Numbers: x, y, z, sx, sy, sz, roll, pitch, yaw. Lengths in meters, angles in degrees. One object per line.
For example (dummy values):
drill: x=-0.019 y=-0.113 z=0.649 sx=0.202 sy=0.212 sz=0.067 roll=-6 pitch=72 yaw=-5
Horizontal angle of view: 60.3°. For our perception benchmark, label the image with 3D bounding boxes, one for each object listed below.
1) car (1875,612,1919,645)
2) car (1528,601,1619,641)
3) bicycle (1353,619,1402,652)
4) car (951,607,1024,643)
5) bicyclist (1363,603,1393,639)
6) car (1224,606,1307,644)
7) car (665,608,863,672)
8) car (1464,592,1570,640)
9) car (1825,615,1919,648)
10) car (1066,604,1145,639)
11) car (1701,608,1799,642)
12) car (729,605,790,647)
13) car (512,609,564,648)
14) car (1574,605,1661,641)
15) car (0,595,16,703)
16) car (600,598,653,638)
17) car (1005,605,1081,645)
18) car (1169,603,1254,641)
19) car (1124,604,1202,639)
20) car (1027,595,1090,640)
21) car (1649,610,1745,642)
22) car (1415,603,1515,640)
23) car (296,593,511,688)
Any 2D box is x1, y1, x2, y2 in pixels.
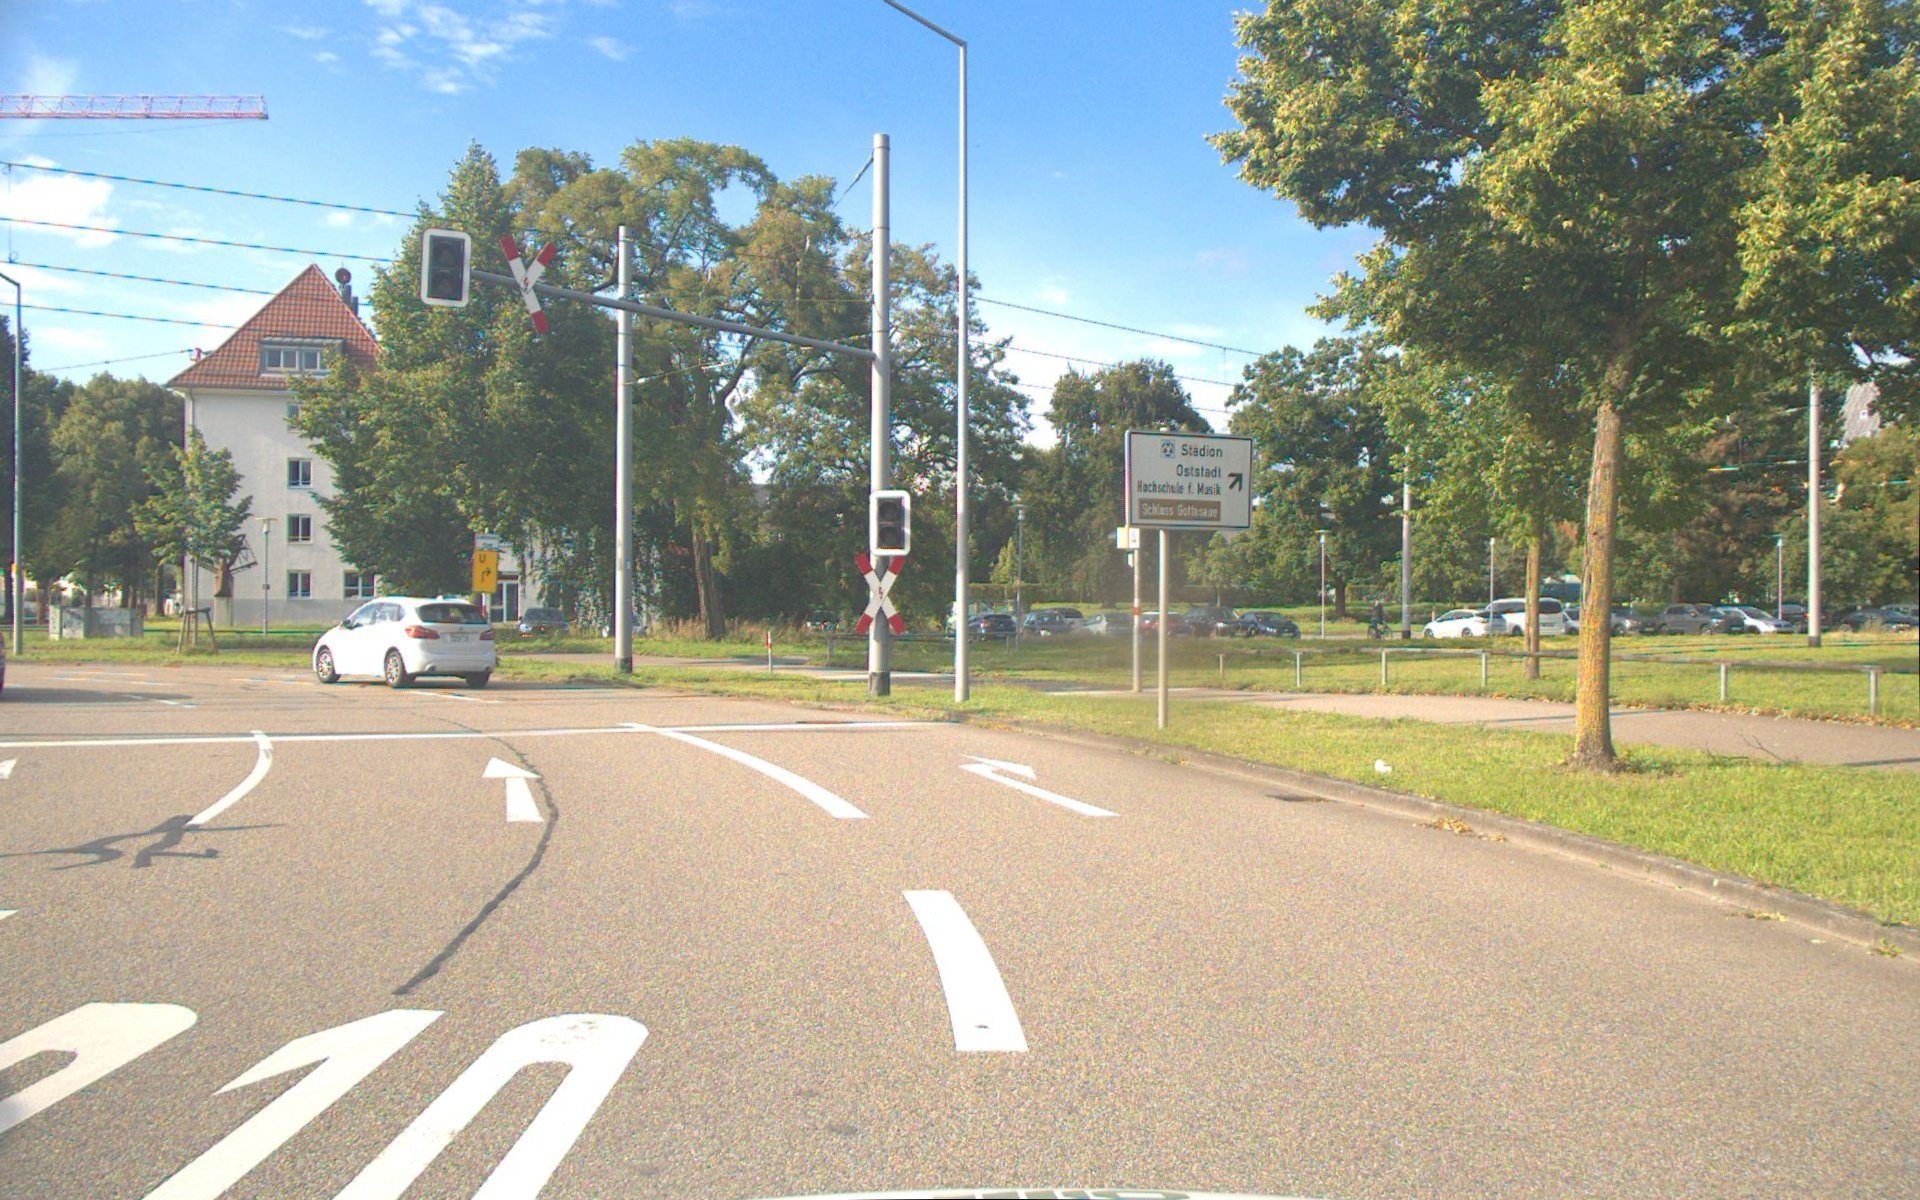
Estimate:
car: x=46.160 y=1.349 z=79.072 sx=1.820 sy=1.568 sz=4.458 roll=0 pitch=0 yaw=-10
car: x=27.430 y=0.928 z=74.102 sx=2.055 sy=1.703 sz=4.463 roll=0 pitch=0 yaw=-6
bicycle: x=16.132 y=1.361 z=63.851 sx=0.702 sy=1.244 sz=2.511 roll=0 pitch=0 yaw=44
car: x=1.049 y=0.987 z=66.439 sx=1.823 sy=1.383 sz=4.717 roll=0 pitch=0 yaw=-13
bicyclist: x=16.134 y=0.815 z=63.868 sx=0.702 sy=1.379 sz=0.998 roll=0 pitch=0 yaw=45
car: x=12.880 y=1.028 z=70.043 sx=1.823 sy=1.542 sz=4.453 roll=0 pitch=0 yaw=-13
car: x=-4.749 y=0.966 z=39.866 sx=4.565 sy=1.456 sz=1.896 roll=1 pitch=-1 yaw=-13
car: x=24.550 y=0.685 z=73.146 sx=2.268 sy=2.042 sz=5.100 roll=0 pitch=0 yaw=-10
car: x=43.585 y=1.475 z=78.851 sx=1.765 sy=1.542 sz=4.458 roll=0 pitch=0 yaw=-10
car: x=5.943 y=0.888 z=68.264 sx=1.823 sy=1.382 sz=4.816 roll=0 pitch=0 yaw=-13
car: x=36.365 y=1.127 z=76.239 sx=1.821 sy=1.531 sz=4.458 roll=0 pitch=0 yaw=-10
car: x=-7.780 y=0.967 z=63.843 sx=1.823 sy=1.542 sz=4.717 roll=0 pitch=0 yaw=-13
car: x=-15.714 y=1.048 z=61.723 sx=1.823 sy=1.405 sz=4.499 roll=0 pitch=0 yaw=-13
car: x=29.564 y=1.014 z=74.509 sx=1.991 sy=1.542 sz=4.107 roll=0 pitch=0 yaw=-6
car: x=-15.120 y=0.663 z=23.907 sx=1.838 sy=1.470 sz=4.648 roll=2 pitch=-1 yaw=-39
car: x=-12.751 y=0.668 z=63.090 sx=1.823 sy=1.465 sz=4.717 roll=0 pitch=0 yaw=-13
car: x=3.316 y=0.991 z=67.154 sx=1.823 sy=1.542 sz=4.731 roll=0 pitch=0 yaw=-13
car: x=10.470 y=0.909 z=69.153 sx=1.823 sy=1.542 sz=4.927 roll=0 pitch=0 yaw=-13
car: x=8.399 y=0.890 z=68.788 sx=1.823 sy=1.386 sz=4.453 roll=0 pitch=0 yaw=-13
car: x=4.732 y=0.871 z=79.997 sx=1.838 sy=2.049 sz=4.796 roll=2 pitch=-2 yaw=-11
car: x=33.716 y=1.164 z=75.771 sx=1.821 sy=1.423 sz=4.458 roll=0 pitch=0 yaw=-10
car: x=21.980 y=0.916 z=72.159 sx=1.828 sy=1.542 sz=4.441 roll=0 pitch=0 yaw=-21
car: x=-10.220 y=0.708 z=30.230 sx=4.376 sy=1.600 sz=1.845 roll=0 pitch=-1 yaw=43
